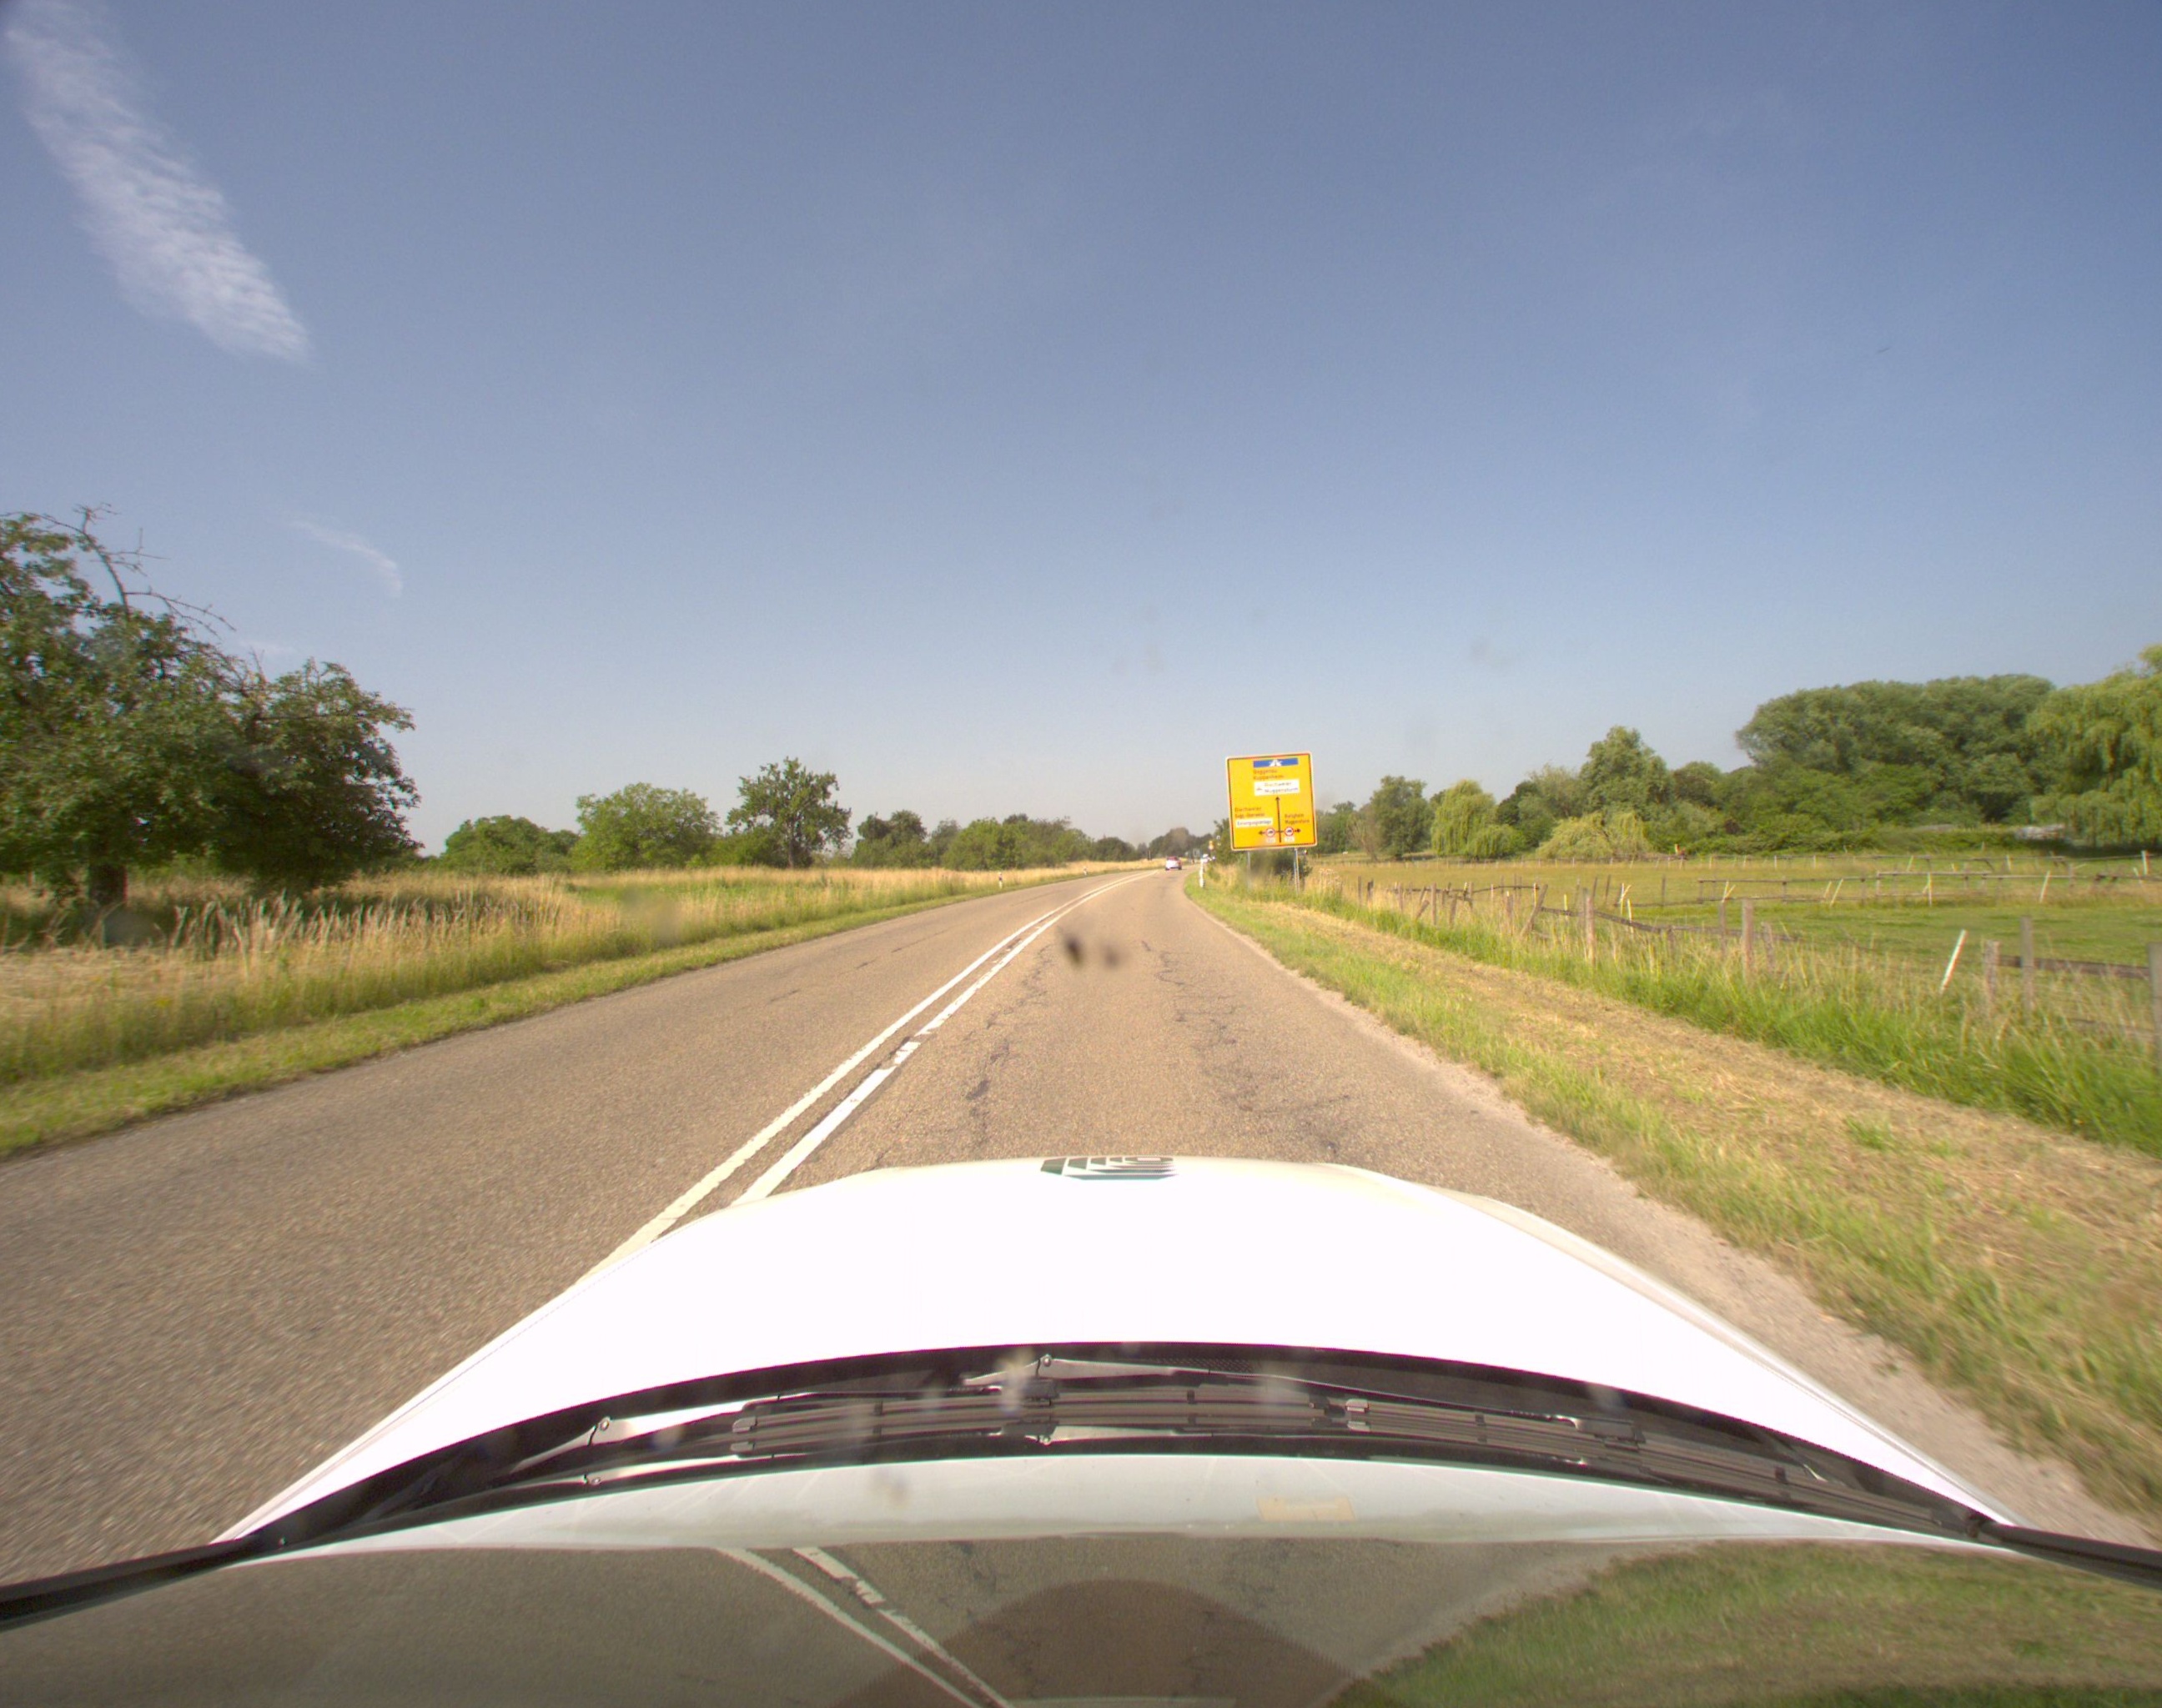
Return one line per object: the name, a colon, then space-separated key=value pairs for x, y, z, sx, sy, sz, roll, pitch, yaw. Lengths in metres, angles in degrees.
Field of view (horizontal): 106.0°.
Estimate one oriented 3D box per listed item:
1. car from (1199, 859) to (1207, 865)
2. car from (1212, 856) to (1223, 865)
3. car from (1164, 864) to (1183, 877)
car: x=31.104 y=2.087 z=207.720 sx=1.802 sy=1.585 sz=4.234 roll=0 pitch=-1 yaw=9
car: x=26.739 y=1.236 z=159.002 sx=1.803 sy=1.520 sz=4.014 roll=-3 pitch=-1 yaw=13
car: x=11.261 y=1.973 z=99.036 sx=1.887 sy=1.512 sz=4.011 roll=-1 pitch=-1 yaw=10
